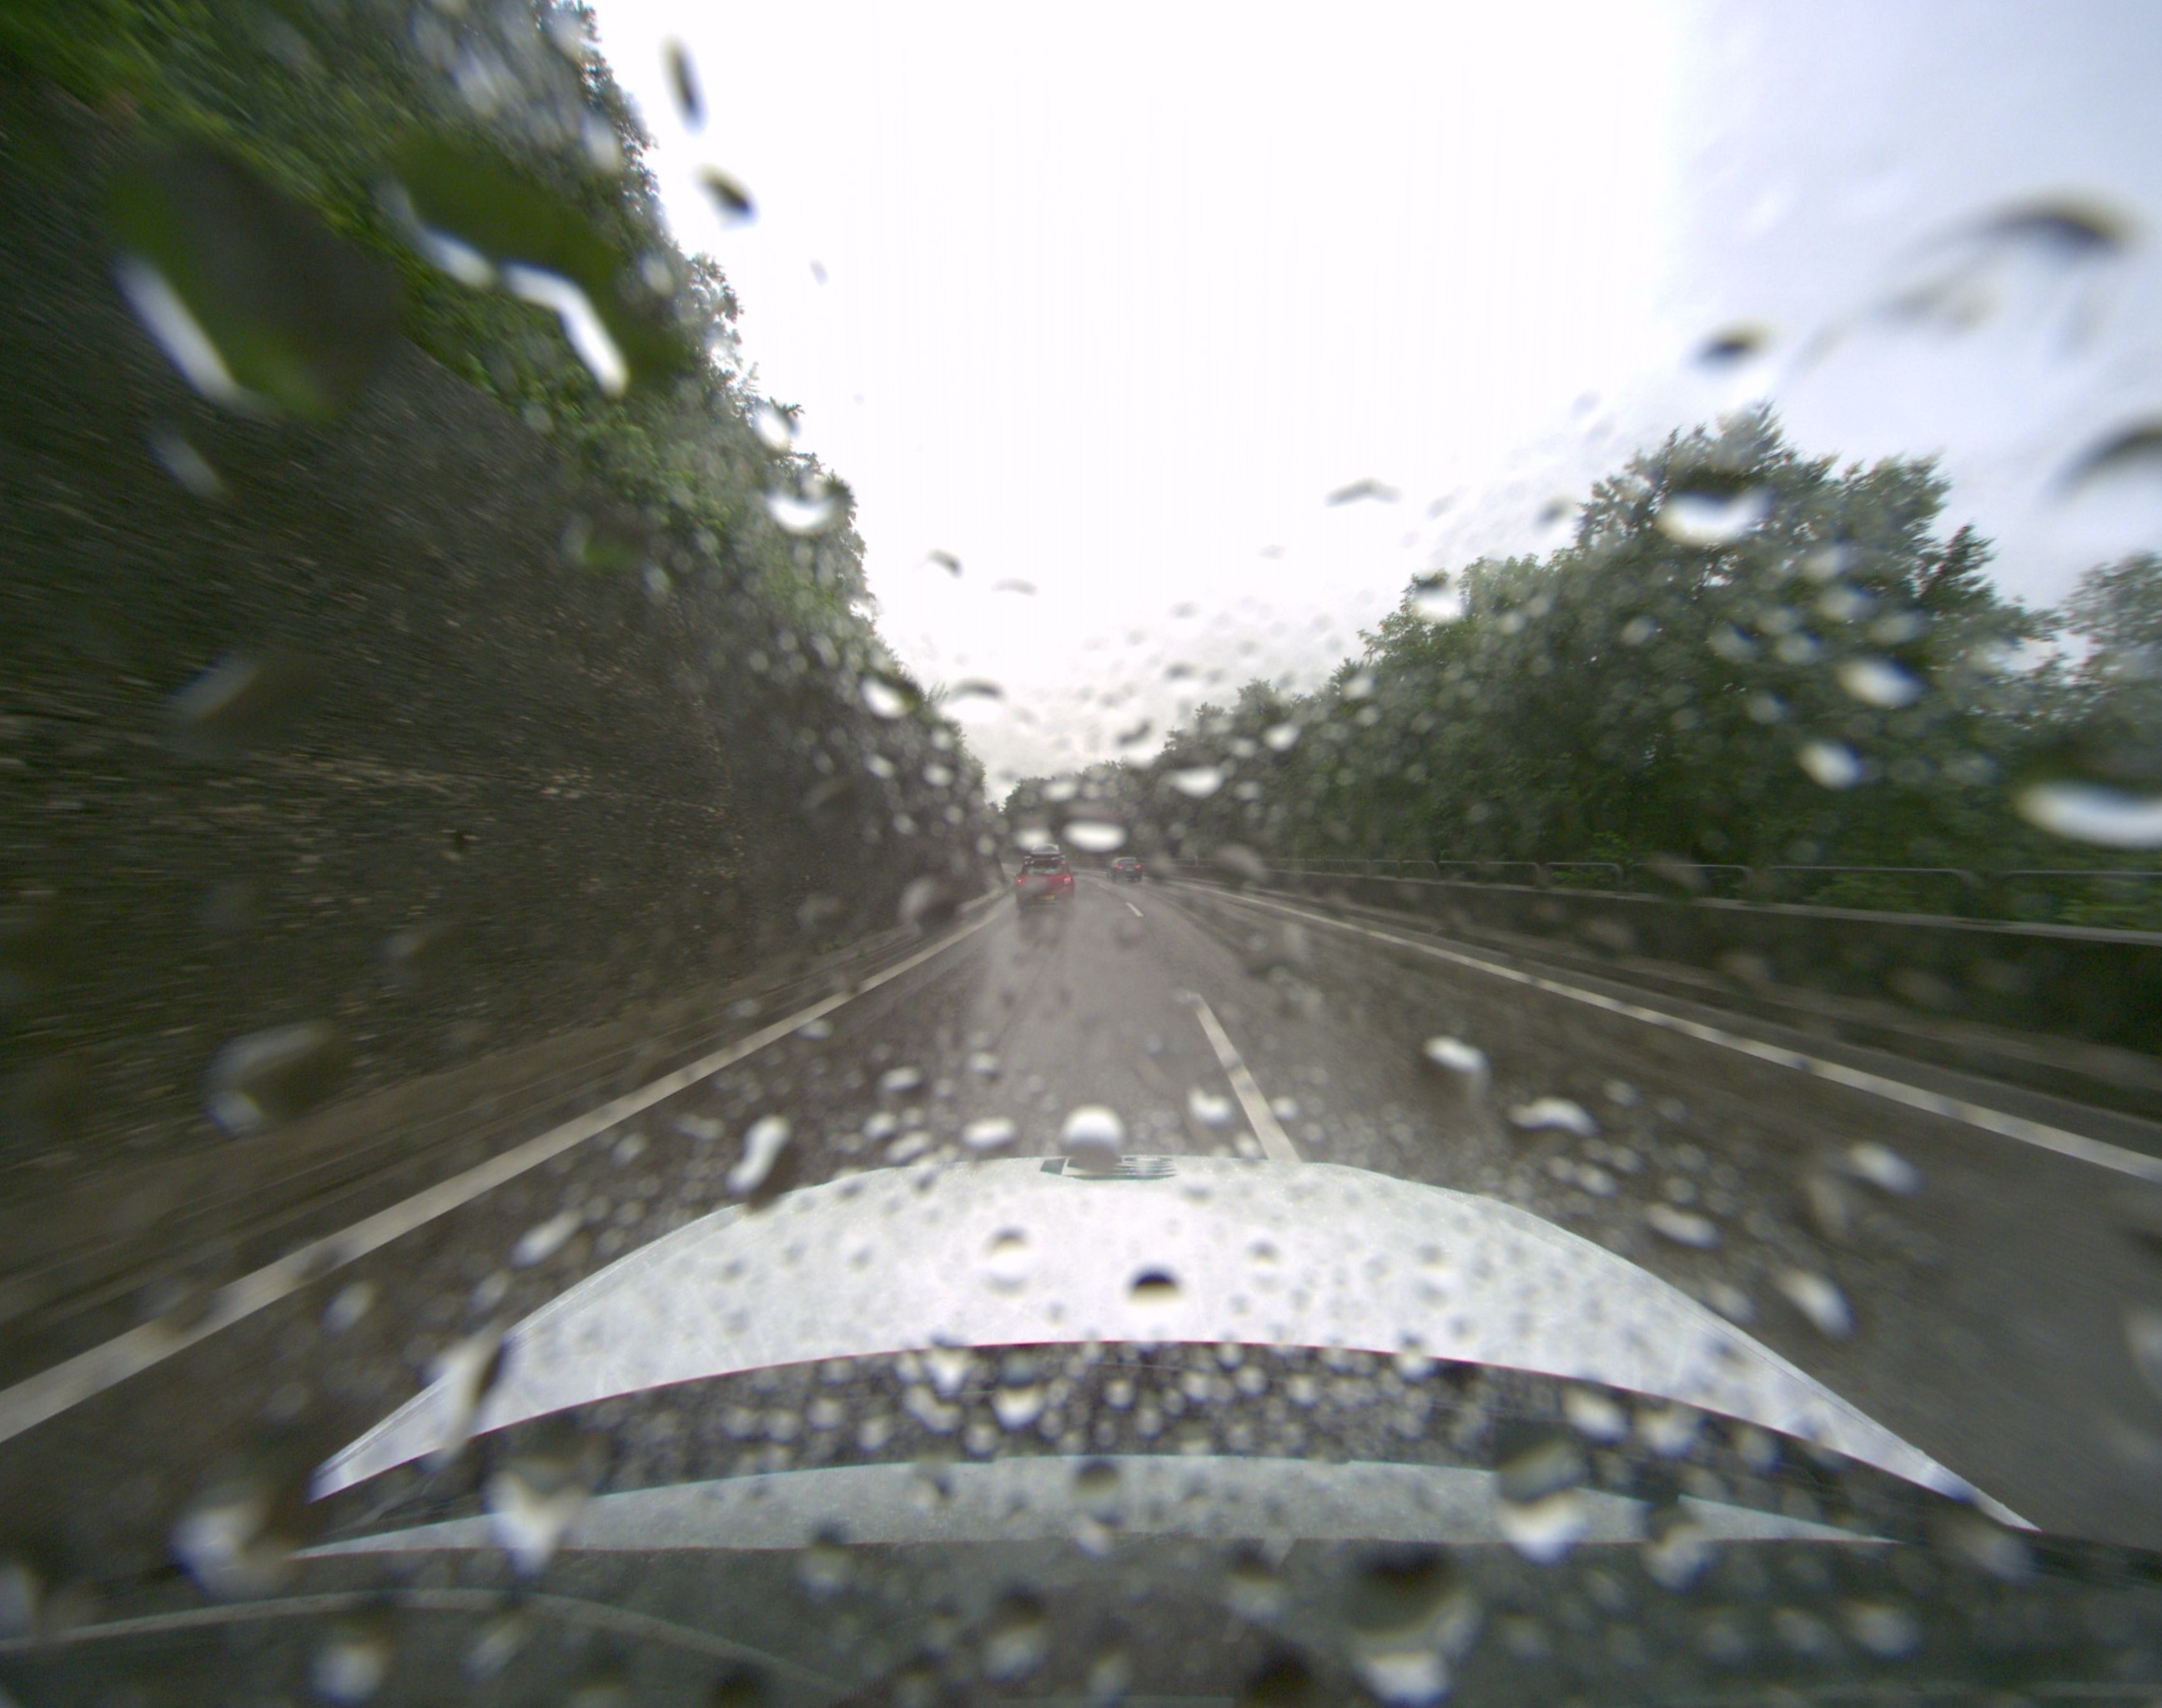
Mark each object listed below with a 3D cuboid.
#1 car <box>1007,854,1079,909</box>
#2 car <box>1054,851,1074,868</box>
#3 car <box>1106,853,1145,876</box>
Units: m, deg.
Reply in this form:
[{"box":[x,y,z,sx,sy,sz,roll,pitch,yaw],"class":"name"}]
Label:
[{"box":[-1.088,0.794,25.436,1.987,1.552,4.000,-1,0,0],"class":"car"},{"box":[-1.788,0.623,86.663,1.988,1.750,3.998,0,-1,-1],"class":"car"},{"box":[2.746,0.652,51.019,1.798,1.308,3.992,-1,0,-6],"class":"car"}]
